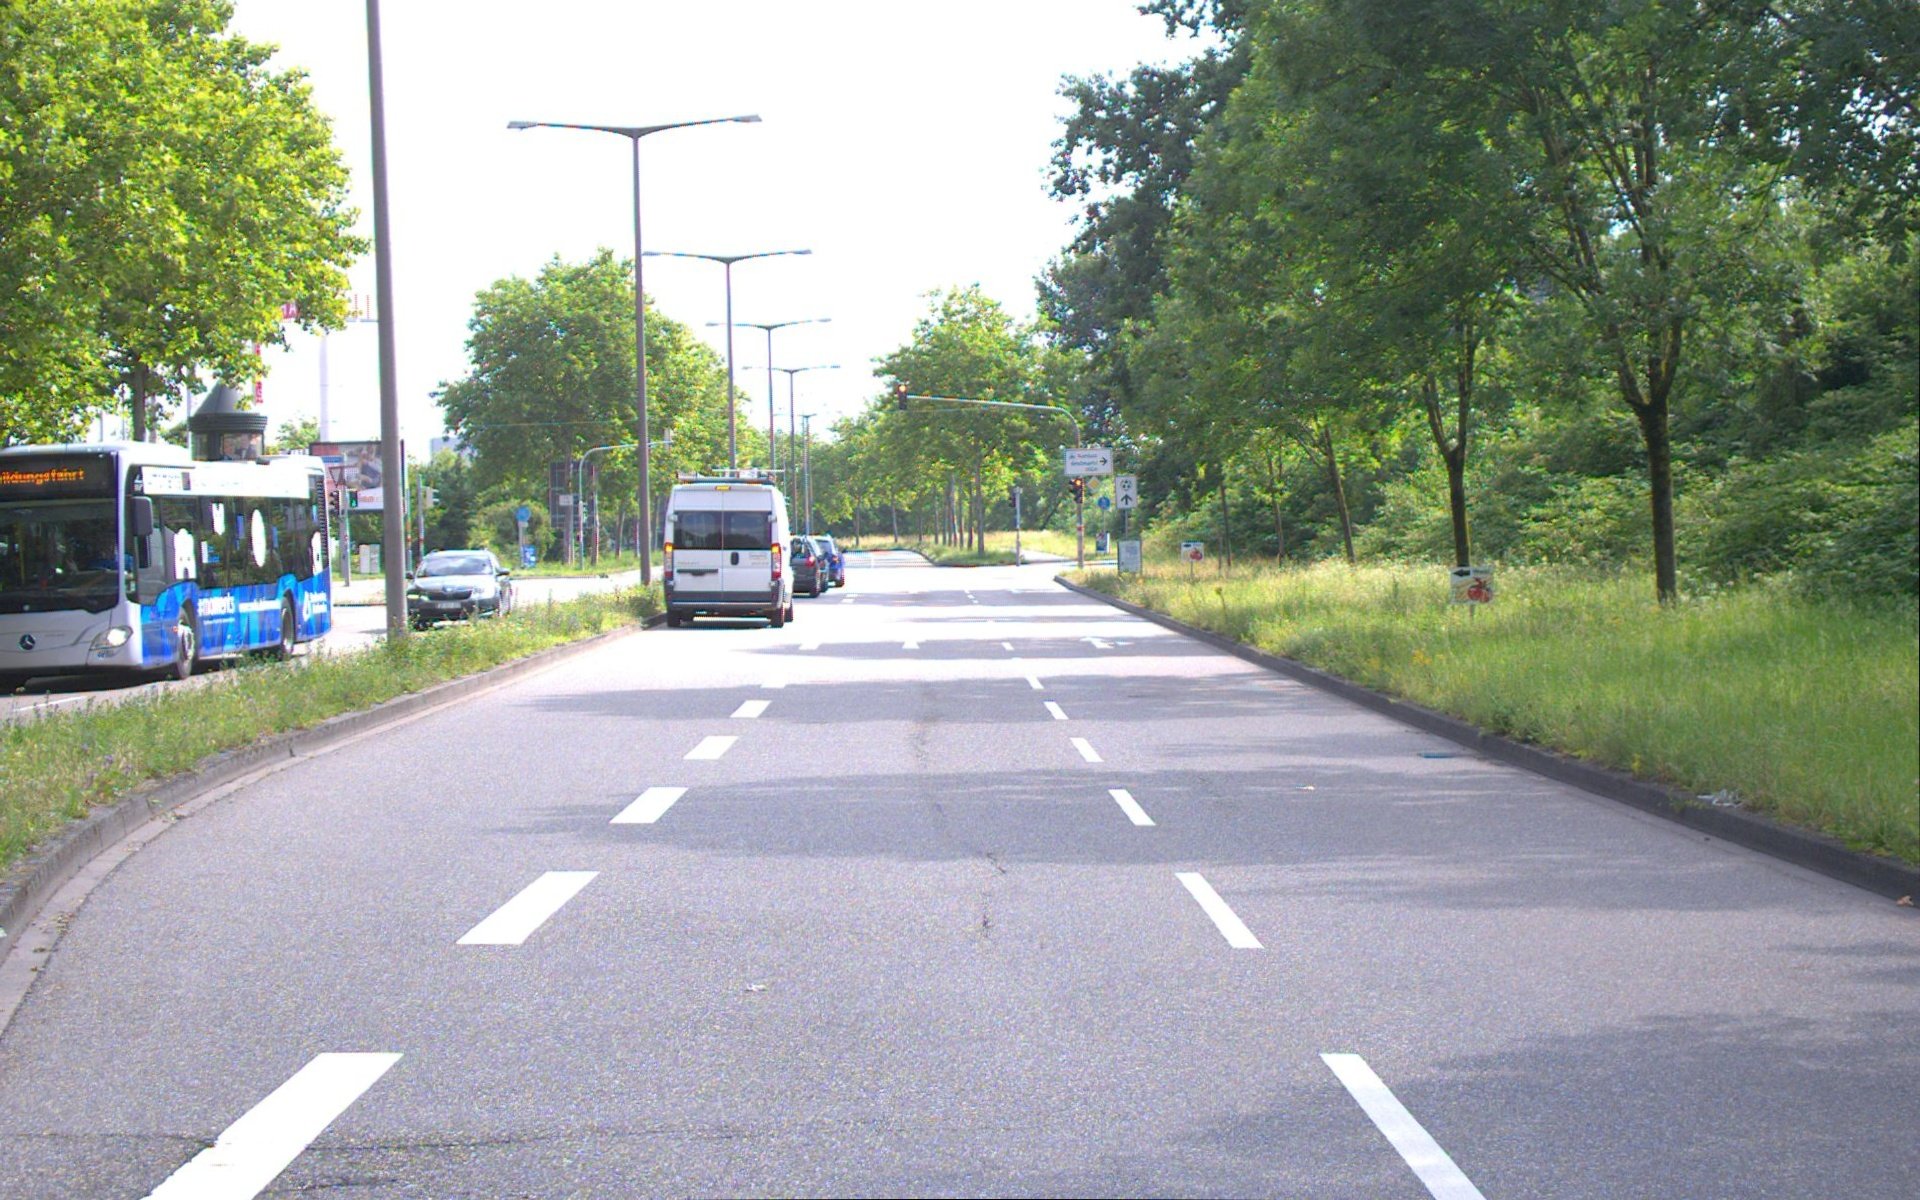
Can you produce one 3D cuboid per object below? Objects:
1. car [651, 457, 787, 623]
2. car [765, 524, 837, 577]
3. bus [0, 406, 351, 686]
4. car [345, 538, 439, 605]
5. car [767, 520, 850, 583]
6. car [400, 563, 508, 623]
[{"bbox_3d":[-4.198,-1.111,60.553,2.197,2.716,4.933,0,3,-2],"label":"car"},{"bbox_3d":[-4.564,-1.423,98.301,1.806,1.465,3.857,-1,1,-6],"label":"car"},{"bbox_3d":[-11.188,-0.724,47.150,3.109,3.263,12.338,-2,1,1],"label":"bus"},{"bbox_3d":[-14.950,-0.730,90.690,1.884,1.578,3.881,0,-2,-1],"label":"car"},{"bbox_3d":[-3.774,-1.211,85.274,1.806,1.465,3.857,-1,1,-6],"label":"car"},{"bbox_3d":[-9.506,-0.142,64.782,1.559,1.037,3.414,-1,1,-1],"label":"car"}]
